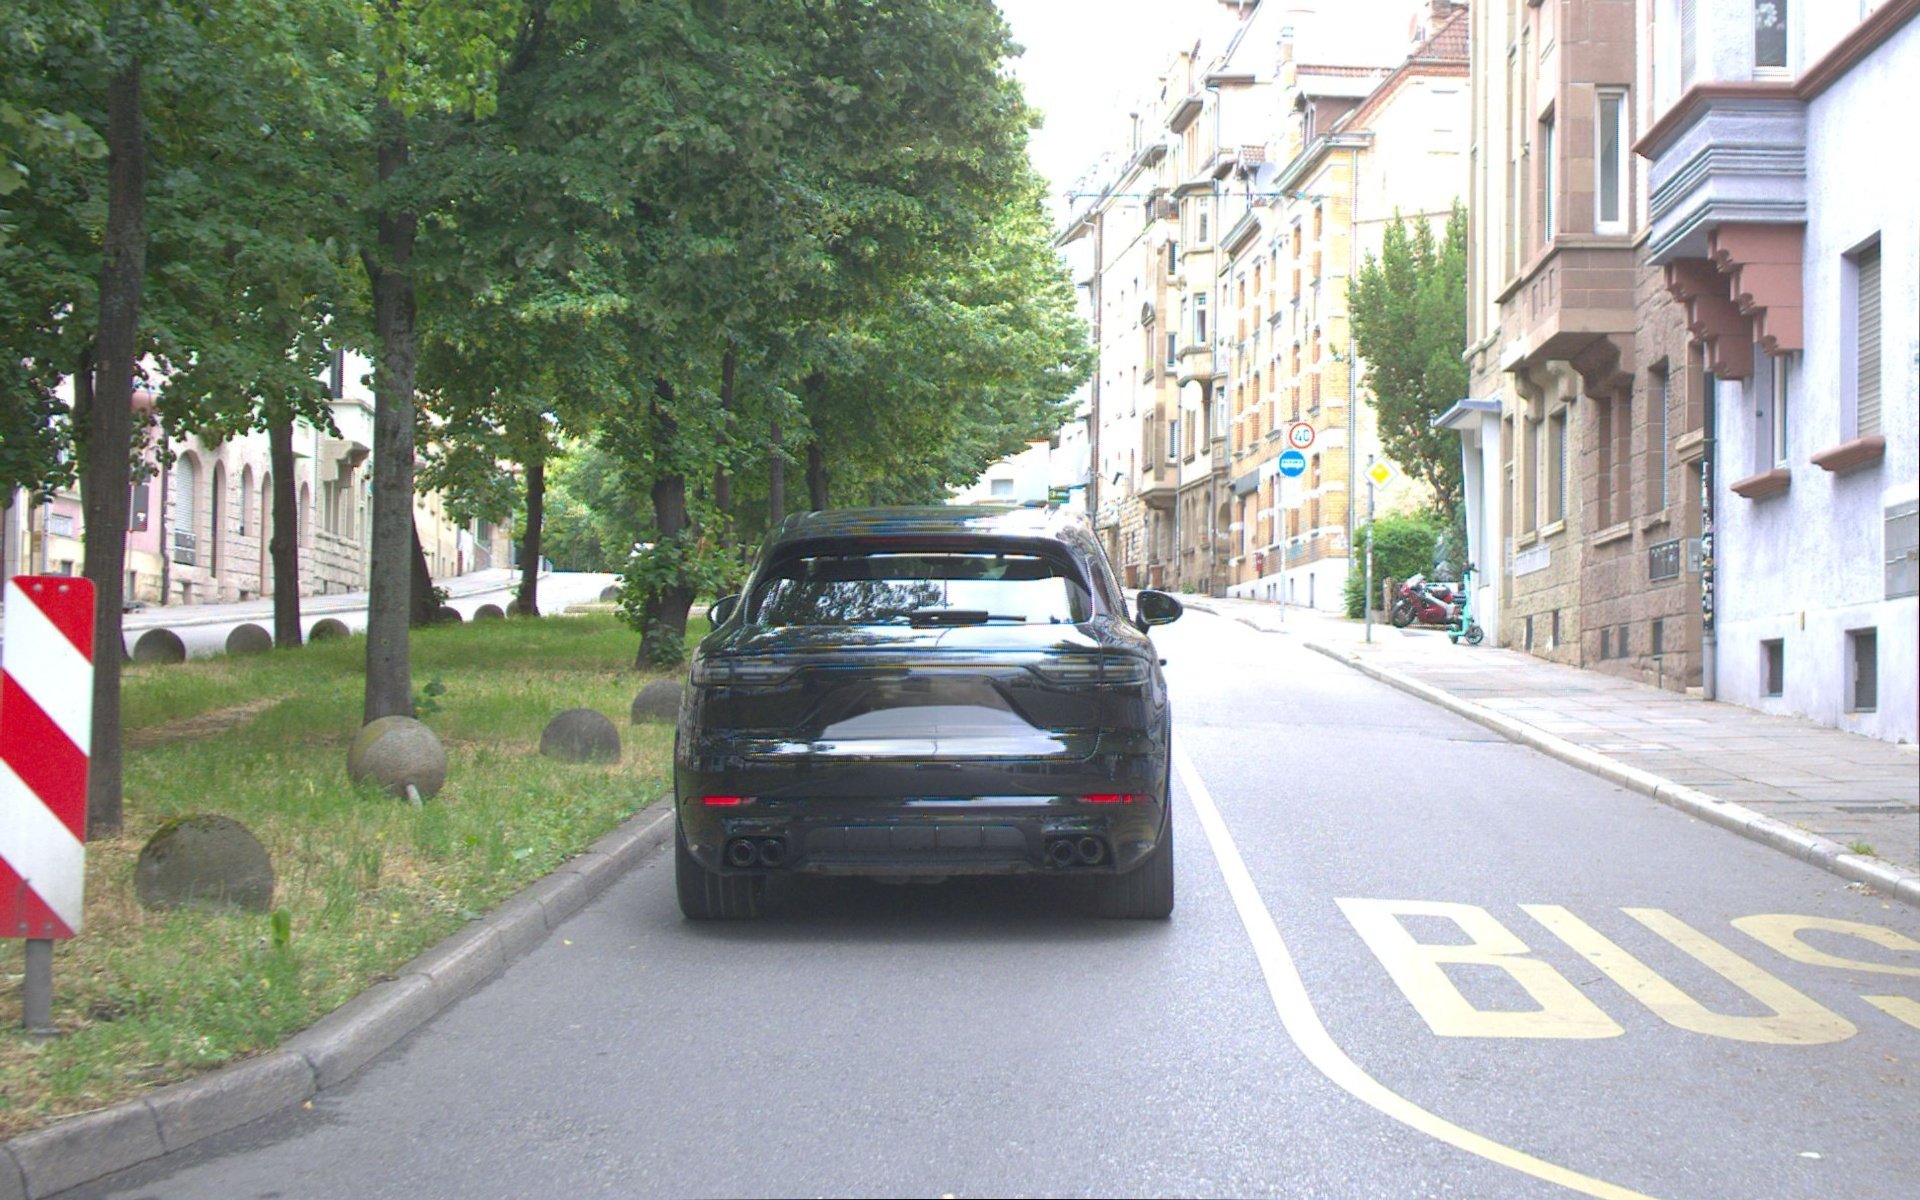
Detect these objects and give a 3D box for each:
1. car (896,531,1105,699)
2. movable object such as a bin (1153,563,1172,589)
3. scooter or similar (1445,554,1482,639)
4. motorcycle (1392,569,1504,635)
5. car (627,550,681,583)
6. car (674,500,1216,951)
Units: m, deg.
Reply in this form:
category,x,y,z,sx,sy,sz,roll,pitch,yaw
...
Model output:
category,x,y,z,sx,sy,sz,roll,pitch,yaw
car,0.440,0.154,32.855,1.763,1.460,3.591,2,-1,4
movable object such as a bin,7.143,-0.832,121.177,0.594,0.901,0.563,2,0,-3
scooter or similar,7.589,-0.059,51.830,0.410,1.206,1.145,-1,3,2
motorcycle,9.945,0.037,70.105,2.055,1.263,1.010,2,1,-2
car,-13.272,-1.472,149.394,1.708,1.377,4.668,0,1,3
car,-0.060,0.442,14.720,1.993,1.660,4.000,0,1,0
